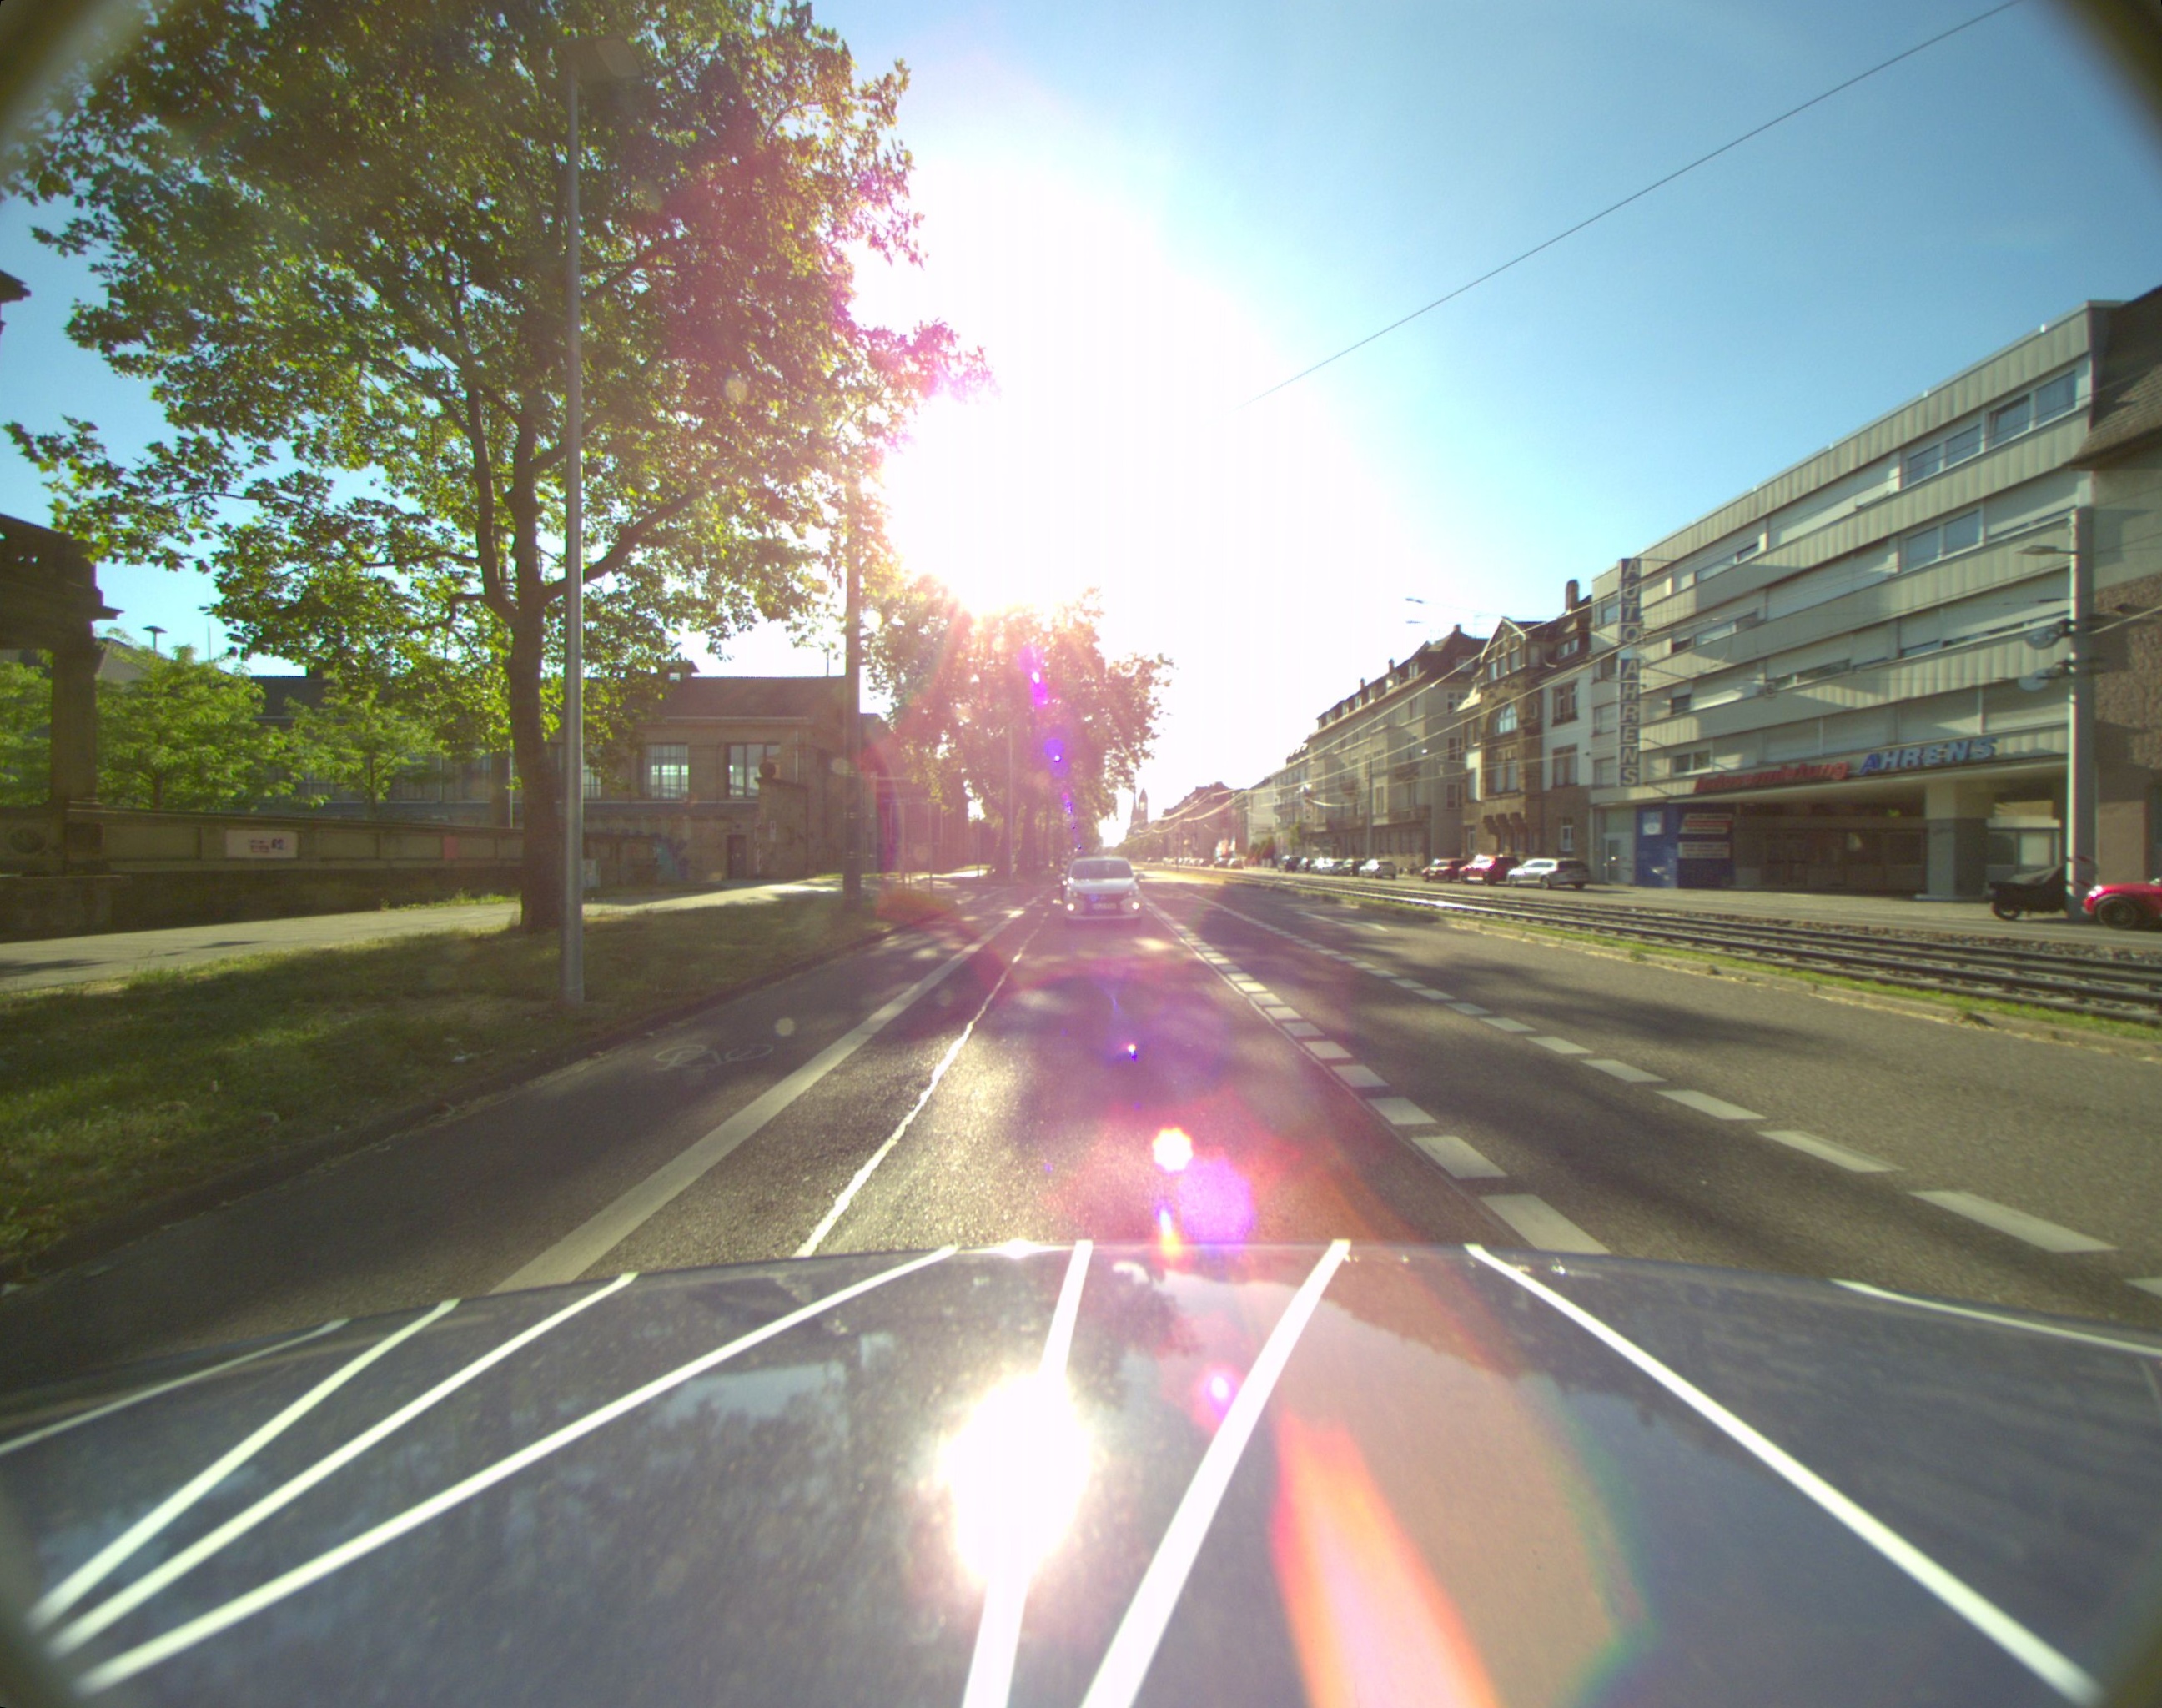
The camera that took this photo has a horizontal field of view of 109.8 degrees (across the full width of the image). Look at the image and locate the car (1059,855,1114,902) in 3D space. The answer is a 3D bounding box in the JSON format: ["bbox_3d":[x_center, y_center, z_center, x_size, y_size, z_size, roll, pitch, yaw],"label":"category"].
[{"bbox_3d":[0.199,0.769,25.683,1.686,1.462,4.055,-1,0,1],"label":"car"}]

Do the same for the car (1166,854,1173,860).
[{"bbox_3d":[24.566,0.898,210.859,1.624,1.581,3.450,-1,0,1],"label":"car"}]

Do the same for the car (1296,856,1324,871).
[{"bbox_3d":[24.103,0.975,80.191,1.802,1.470,3.823,-1,0,1],"label":"car"}]

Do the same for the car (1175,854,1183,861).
[{"bbox_3d":[24.859,0.939,192.588,1.624,1.581,3.450,-1,0,1],"label":"car"}]

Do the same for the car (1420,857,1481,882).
[{"bbox_3d":[23.297,0.940,48.039,1.756,1.487,3.728,-2,0,-5],"label":"car"}]

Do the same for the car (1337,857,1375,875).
[{"bbox_3d":[23.605,0.988,65.251,1.802,1.422,3.822,-1,0,-1],"label":"car"}]

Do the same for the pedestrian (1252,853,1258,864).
[{"bbox_3d":[26.403,0.675,115.586,0.725,1.779,0.678,0,1,0],"label":"pedestrian"}]

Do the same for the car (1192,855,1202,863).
[{"bbox_3d":[24.000,0.937,157.613,1.624,1.581,3.450,-1,0,1],"label":"car"}]

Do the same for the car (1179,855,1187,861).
[{"bbox_3d":[25.120,0.946,187.623,1.624,1.581,3.450,-1,0,1],"label":"car"}]

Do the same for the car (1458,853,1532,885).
[{"bbox_3d":[23.227,0.807,42.806,1.860,1.677,4.263,-2,0,1],"label":"car"}]

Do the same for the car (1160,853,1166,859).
[{"bbox_3d":[25.658,0.636,237.750,1.624,1.581,3.450,-1,0,1],"label":"car"}]

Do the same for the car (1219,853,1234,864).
[{"bbox_3d":[24.487,0.706,127.970,1.727,1.776,3.881,-1,0,1],"label":"car"}]

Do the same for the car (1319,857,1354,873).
[{"bbox_3d":[23.265,0.978,69.352,1.642,1.438,3.538,-1,0,-7],"label":"car"}]

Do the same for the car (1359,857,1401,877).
[{"bbox_3d":[23.505,1.030,59.845,1.802,1.470,3.823,-1,0,1],"label":"car"}]

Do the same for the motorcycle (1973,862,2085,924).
[{"bbox_3d":[23.039,0.932,18.480,1.859,1.413,0.629,-2,0,1],"label":"motorcycle"}]

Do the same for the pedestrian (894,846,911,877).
[{"bbox_3d":[-9.685,0.427,41.251,0.672,1.652,0.874,1,1,2],"label":"pedestrian"}]

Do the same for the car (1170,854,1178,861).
[{"bbox_3d":[24.491,0.899,200.268,1.624,1.581,3.450,-1,0,1],"label":"car"}]

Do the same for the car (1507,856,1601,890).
[{"bbox_3d":[23.174,0.891,37.415,1.861,1.490,4.381,-2,0,0],"label":"car"}]

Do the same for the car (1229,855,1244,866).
[{"bbox_3d":[23.980,0.973,117.441,1.684,1.562,3.388,-1,0,1],"label":"car"}]

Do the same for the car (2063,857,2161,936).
[{"bbox_3d":[22.774,0.860,14.776,1.861,1.490,4.210,-3,0,0],"label":"car"}]

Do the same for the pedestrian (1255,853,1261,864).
[{"bbox_3d":[27.006,0.675,115.664,0.725,1.779,0.678,0,1,0],"label":"pedestrian"}]

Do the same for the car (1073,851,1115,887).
[{"bbox_3d":[0.631,0.652,35.363,1.833,1.543,4.000,0,0,1],"label":"car"}]

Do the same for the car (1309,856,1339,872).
[{"bbox_3d":[23.737,0.941,74.275,1.802,1.470,3.823,-1,0,1],"label":"car"}]

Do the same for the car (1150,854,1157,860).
[{"bbox_3d":[21.510,0.973,225.951,1.822,1.674,4.000,0,0,1],"label":"car"}]

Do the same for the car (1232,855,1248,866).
[{"bbox_3d":[23.420,0.949,112.202,1.677,1.622,3.408,-1,0,1],"label":"car"}]

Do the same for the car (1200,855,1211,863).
[{"bbox_3d":[24.240,0.967,148.438,1.624,1.581,3.450,-1,0,1],"label":"car"}]

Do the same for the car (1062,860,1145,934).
[{"bbox_3d":[0.501,0.904,17.539,1.686,1.462,4.055,-1,0,1],"label":"car"}]

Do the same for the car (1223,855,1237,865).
[{"bbox_3d":[24.090,0.941,122.867,1.684,1.562,3.388,-1,0,1],"label":"car"}]

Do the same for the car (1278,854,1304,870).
[{"bbox_3d":[23.622,0.889,85.663,1.875,1.726,3.915,-1,0,1],"label":"car"}]
